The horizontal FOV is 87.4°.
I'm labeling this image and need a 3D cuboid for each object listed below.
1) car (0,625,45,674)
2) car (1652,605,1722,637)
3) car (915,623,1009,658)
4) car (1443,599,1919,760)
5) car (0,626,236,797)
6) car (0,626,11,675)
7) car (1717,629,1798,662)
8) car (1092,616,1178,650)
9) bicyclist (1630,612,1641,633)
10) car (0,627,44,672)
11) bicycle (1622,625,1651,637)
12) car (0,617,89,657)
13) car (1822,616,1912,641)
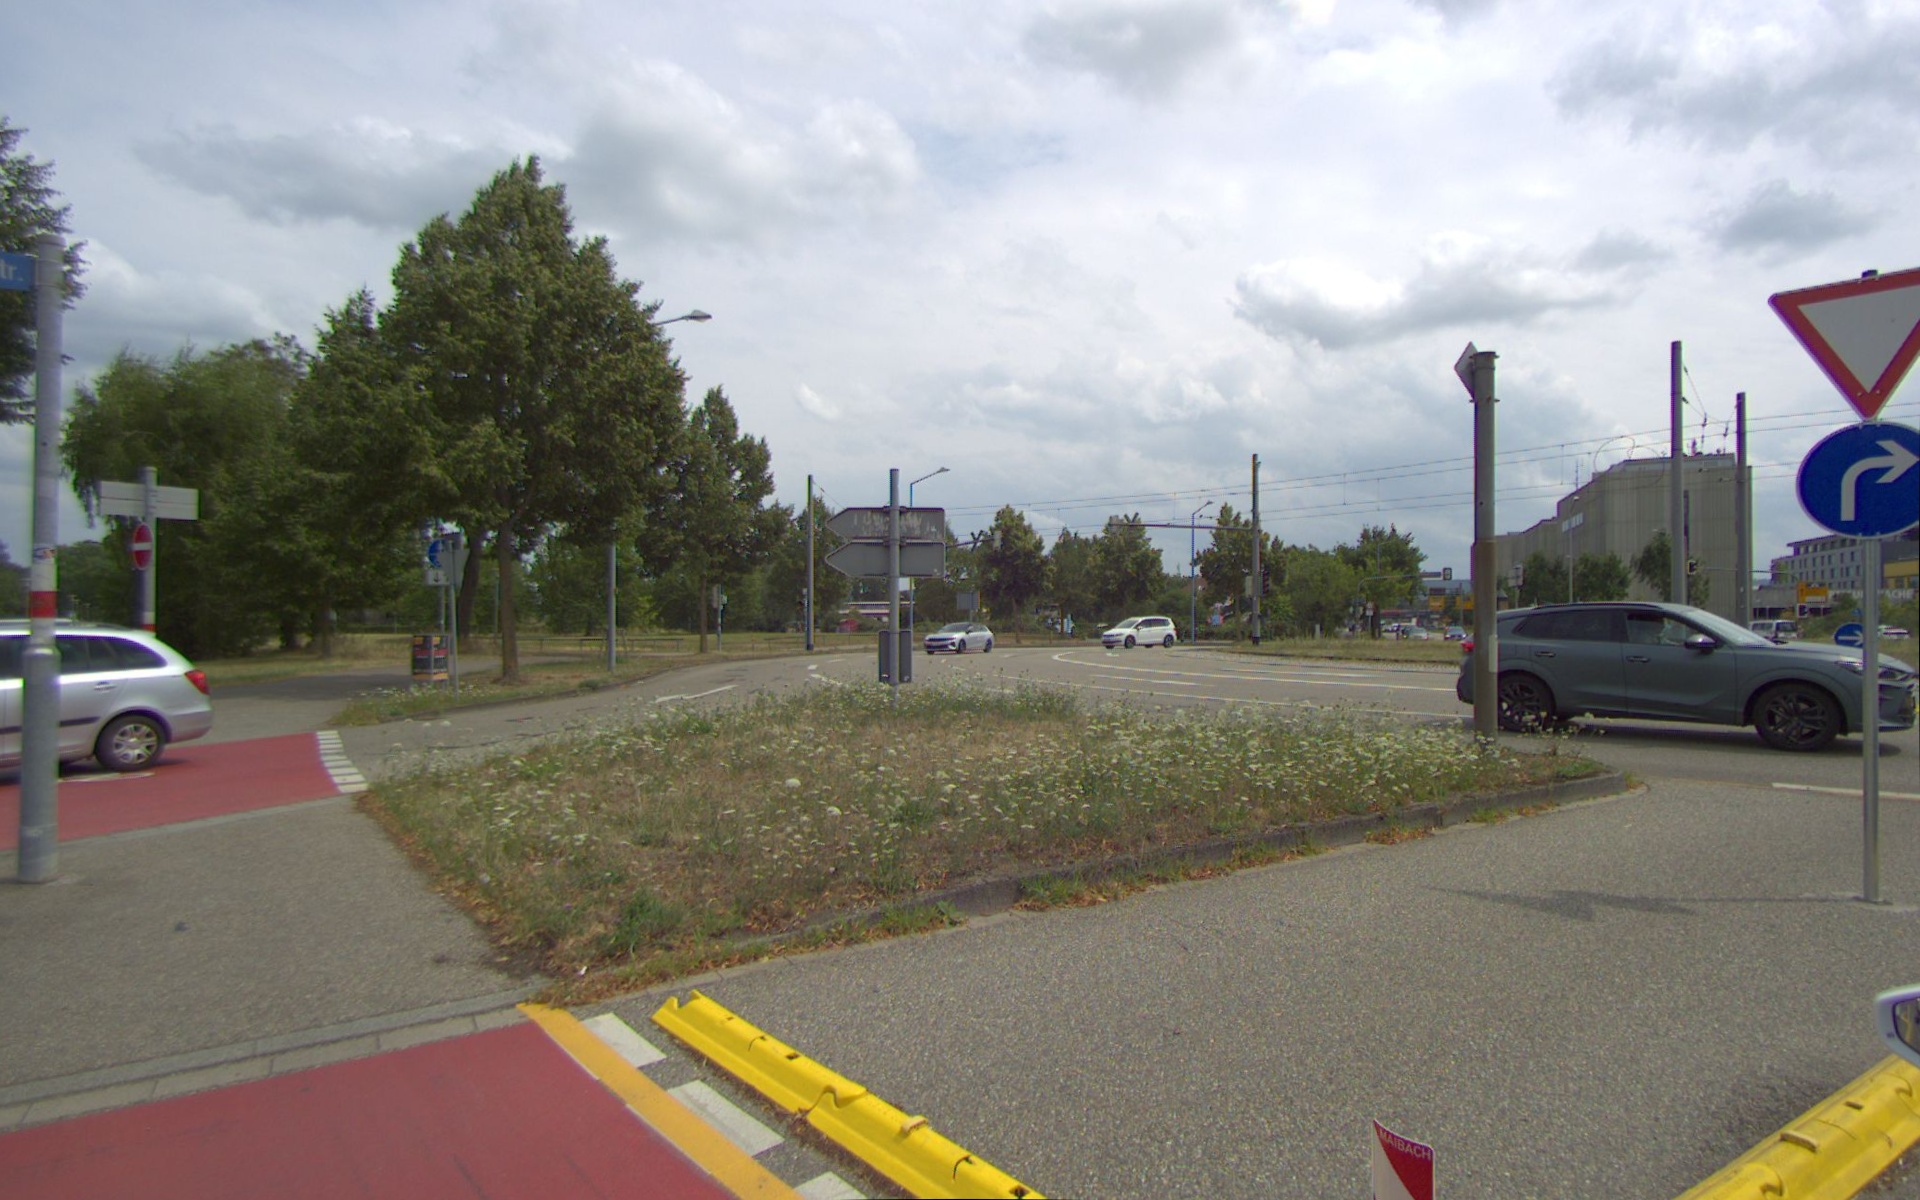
[{"bbox_3d":[-31.887,1.636,31.466,4.671,1.491,1.811,-2,1,-42],"label":"car"},{"bbox_3d":[48.237,1.399,66.782,1.960,2.040,4.002,2,-1,5],"label":"car"},{"bbox_3d":[0.164,1.845,46.569,1.965,1.502,5.172,-1,-1,31],"label":"car"},{"bbox_3d":[8.531,0.825,12.161,2.050,1.572,4.418,1,-1,-43],"label":"car"},{"bbox_3d":[-9.476,1.027,9.380,1.597,1.539,4.217,-1,-1,22],"label":"car"},{"bbox_3d":[-30.102,1.560,29.690,1.464,1.442,2.898,-2,0,44],"label":"car"},{"bbox_3d":[52.953,2.975,66.771,1.960,2.040,4.363,2,-1,1],"label":"car"},{"bbox_3d":[9.384,1.757,53.882,4.305,1.687,1.923,-1,-1,-31],"label":"car"},{"bbox_3d":[51.921,1.736,77.249,0.641,1.579,0.528,-1,-1,40],"label":"bicyclist"},{"bbox_3d":[-33.829,1.646,33.408,4.847,1.491,1.812,1,-1,-39],"label":"car"},{"bbox_3d":[51.980,2.359,77.176,1.807,0.889,0.528,-1,-1,40],"label":"bicycle"},{"bbox_3d":[-49.366,1.924,52.661,5.527,2.083,2.175,1,-1,-41],"label":"car"},{"bbox_3d":[57.313,1.786,63.562,1.800,1.483,3.995,2,-1,-8],"label":"car"}]
